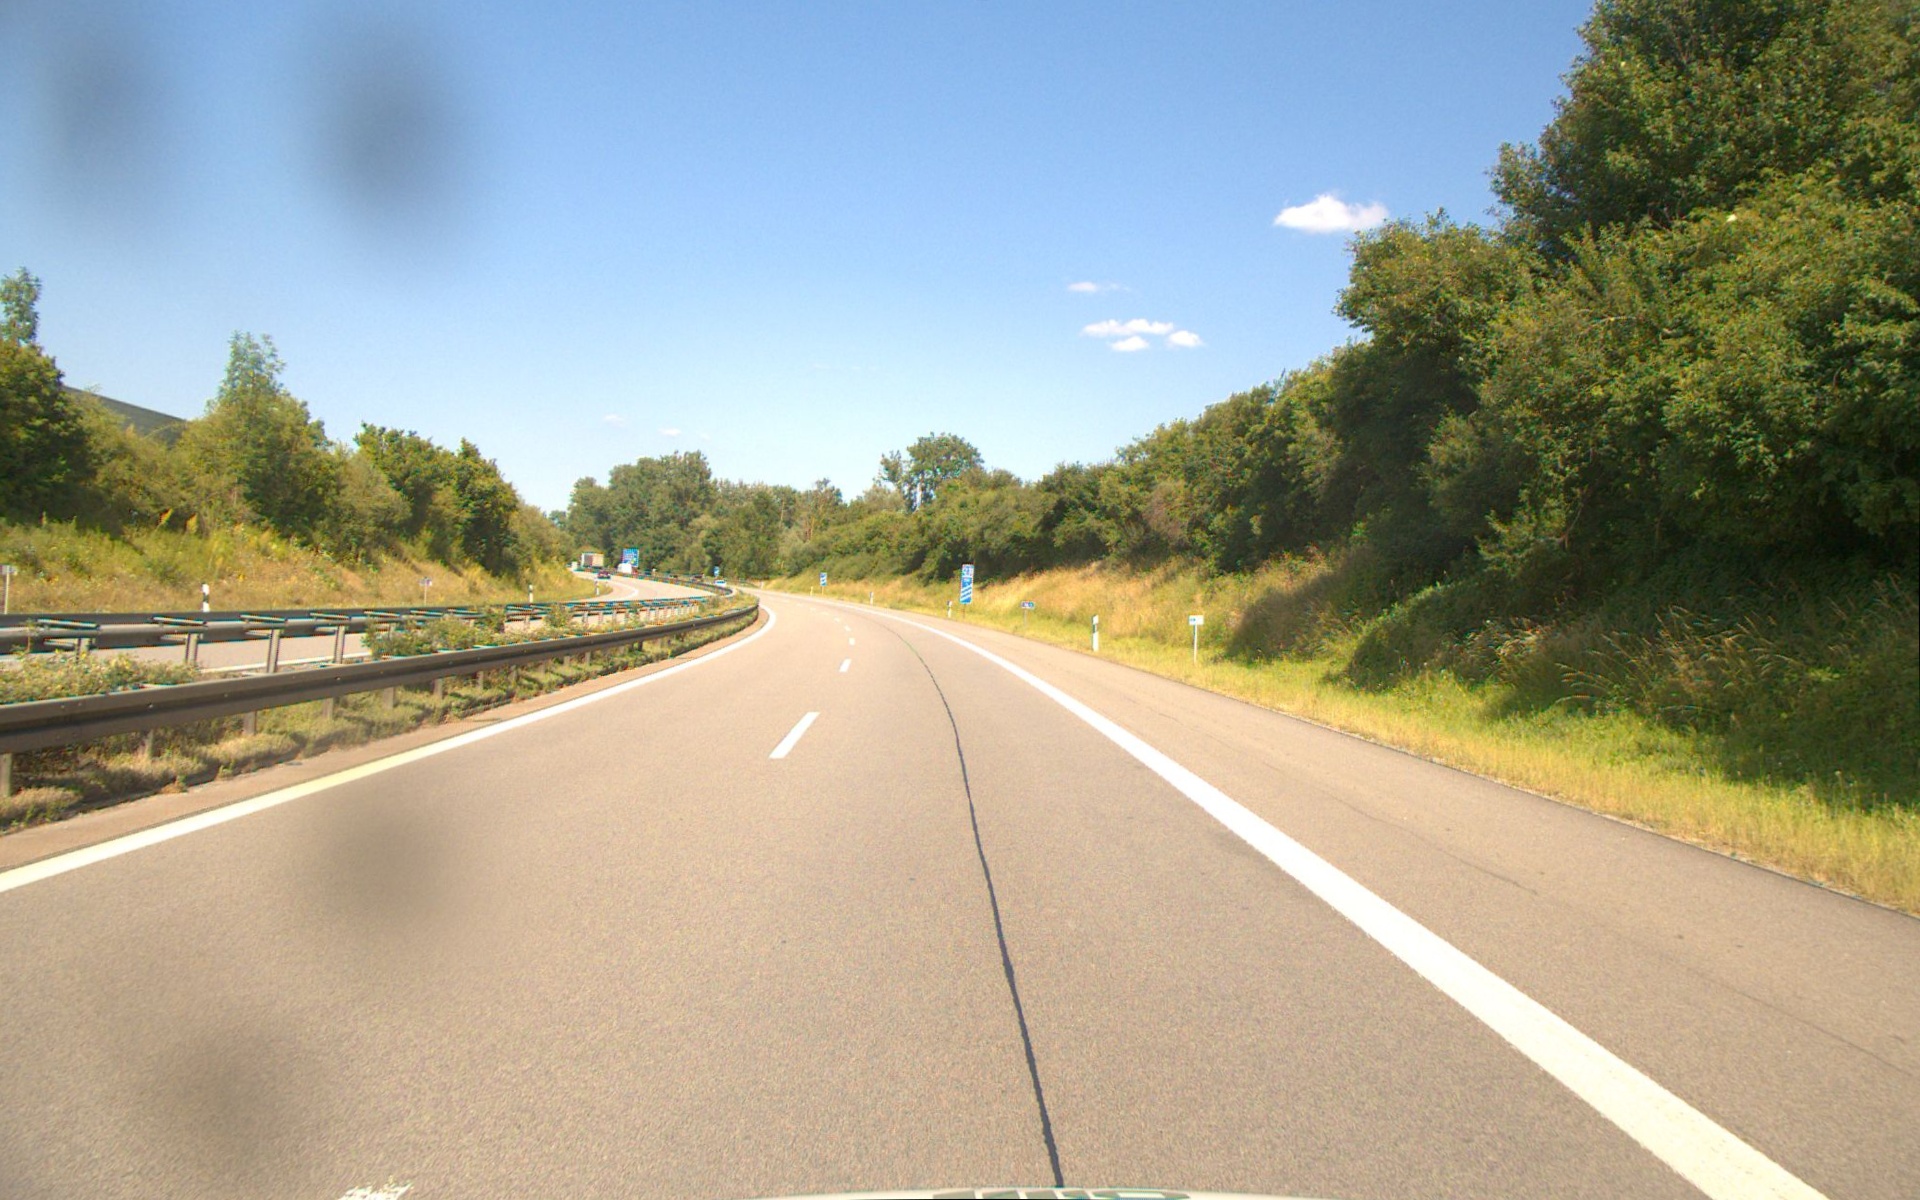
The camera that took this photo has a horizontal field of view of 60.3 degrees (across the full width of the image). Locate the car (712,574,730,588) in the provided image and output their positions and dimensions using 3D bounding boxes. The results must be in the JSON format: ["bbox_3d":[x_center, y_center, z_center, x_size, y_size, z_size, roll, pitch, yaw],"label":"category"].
[{"bbox_3d":[-31.451,-2.447,217.355,2.025,1.653,3.987,2,-1,-12],"label":"car"}]
